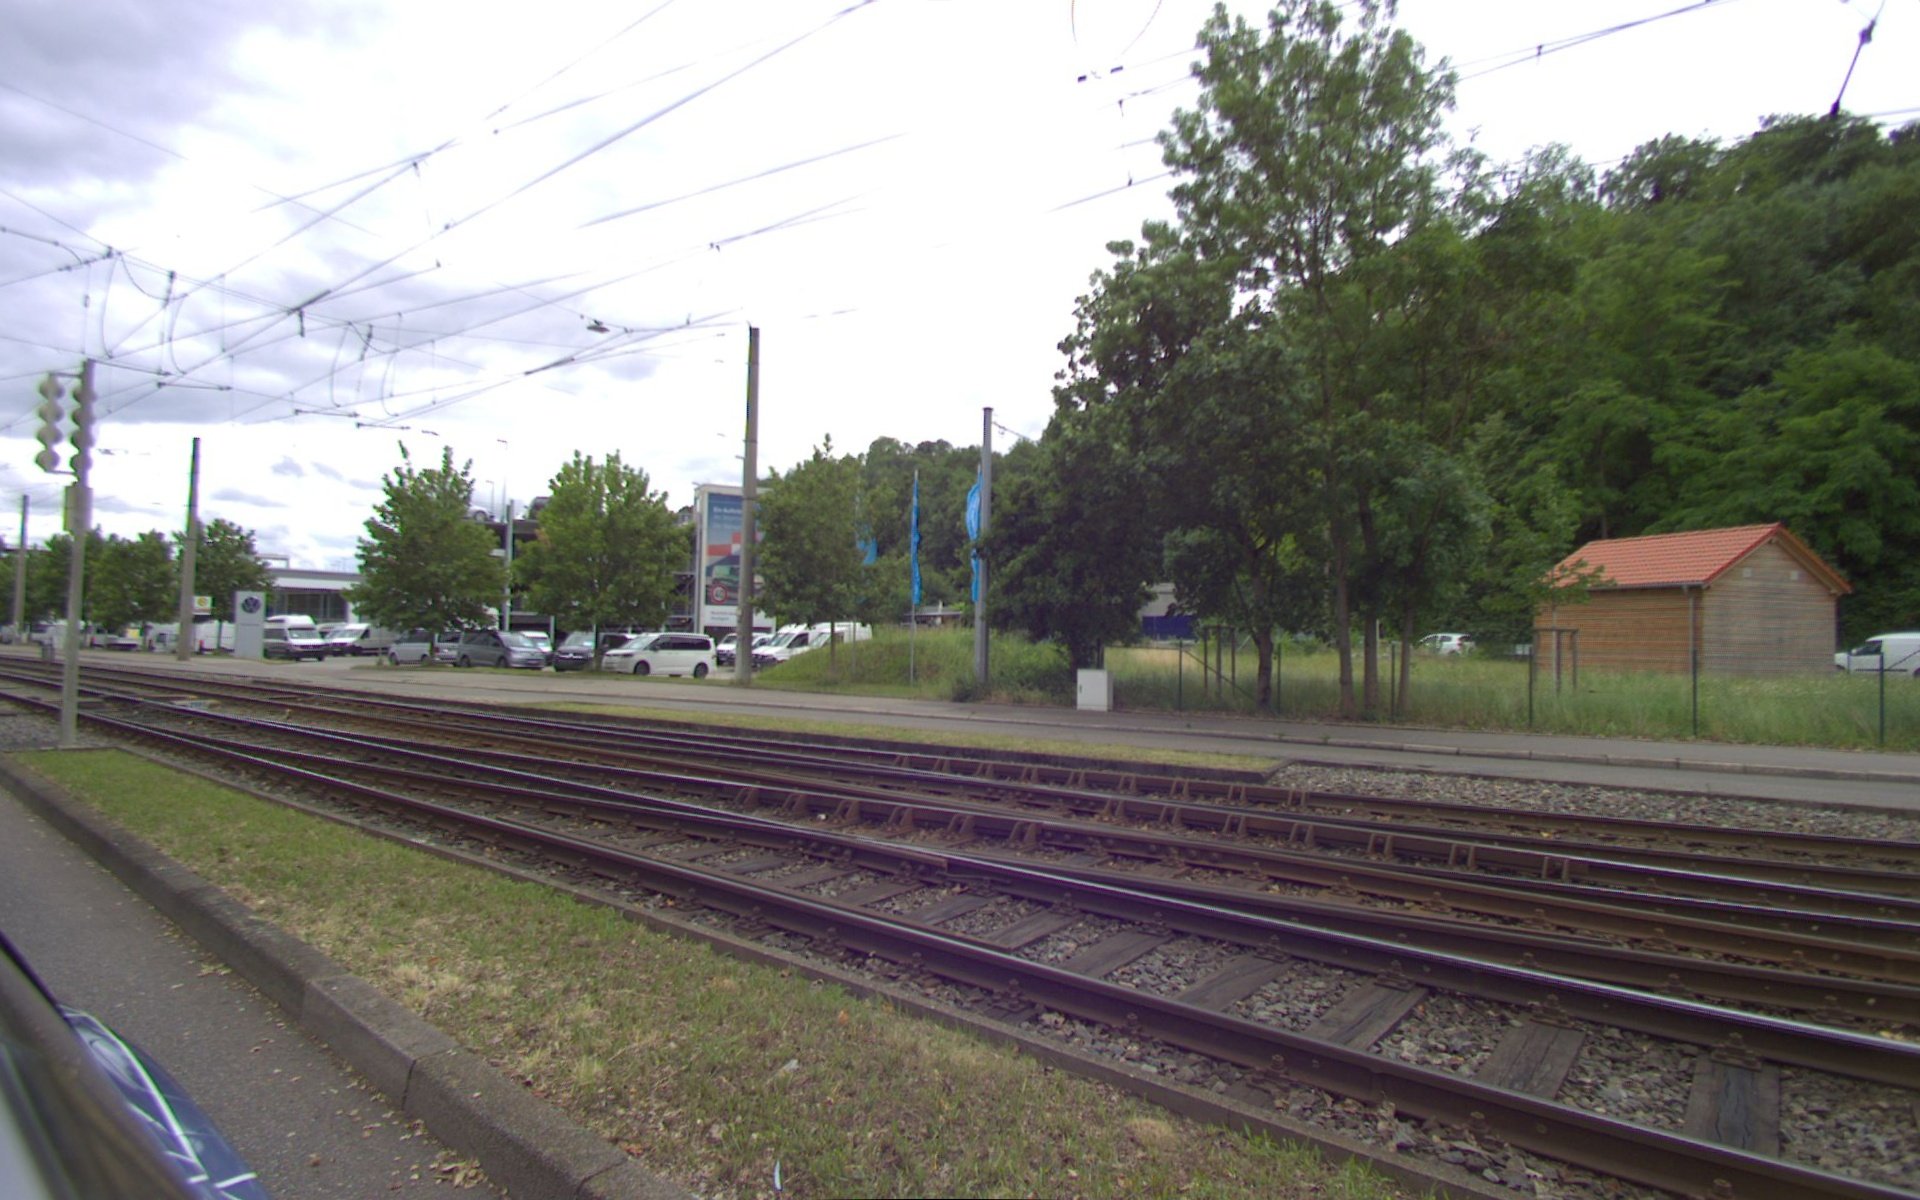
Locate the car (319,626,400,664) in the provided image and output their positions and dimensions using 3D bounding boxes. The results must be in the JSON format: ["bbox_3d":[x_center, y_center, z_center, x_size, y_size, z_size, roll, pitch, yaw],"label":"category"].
[{"bbox_3d":[-46.469,3.425,78.527,2.293,2.642,6.036,-1,0,6],"label":"car"}]

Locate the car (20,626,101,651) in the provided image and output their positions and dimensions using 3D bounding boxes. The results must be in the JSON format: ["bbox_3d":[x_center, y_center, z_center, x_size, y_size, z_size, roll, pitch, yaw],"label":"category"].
[{"bbox_3d":[-73.595,3.095,82.880,2.102,1.854,4.589,-1,0,32],"label":"car"}]

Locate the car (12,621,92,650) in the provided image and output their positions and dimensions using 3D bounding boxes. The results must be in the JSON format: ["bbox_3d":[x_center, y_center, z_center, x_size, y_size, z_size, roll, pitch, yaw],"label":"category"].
[{"bbox_3d":[-75.568,2.934,84.277,2.102,2.225,4.589,-1,0,32],"label":"car"}]

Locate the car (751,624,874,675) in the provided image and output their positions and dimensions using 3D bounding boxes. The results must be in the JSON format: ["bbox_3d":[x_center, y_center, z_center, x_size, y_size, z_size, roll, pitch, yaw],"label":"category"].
[{"bbox_3d":[-7.429,2.446,51.025,5.751,2.284,2.060,-1,0,-28],"label":"car"}]

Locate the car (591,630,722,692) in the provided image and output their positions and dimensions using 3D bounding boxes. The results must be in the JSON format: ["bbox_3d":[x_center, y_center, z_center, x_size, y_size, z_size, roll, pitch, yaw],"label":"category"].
[{"bbox_3d":[-12.840,2.520,43.105,1.997,2.284,5.206,-1,0,37],"label":"car"}]

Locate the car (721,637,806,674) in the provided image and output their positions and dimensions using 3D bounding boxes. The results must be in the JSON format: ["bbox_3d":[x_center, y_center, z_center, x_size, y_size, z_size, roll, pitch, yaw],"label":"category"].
[{"bbox_3d":[-10.911,3.057,56.262,4.165,1.850,1.986,-1,0,-31],"label":"car"}]

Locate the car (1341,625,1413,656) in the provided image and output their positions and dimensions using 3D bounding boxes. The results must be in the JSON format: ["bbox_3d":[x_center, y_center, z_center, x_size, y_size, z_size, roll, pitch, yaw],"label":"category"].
[{"bbox_3d":[24.480,2.342,59.463,1.727,1.625,3.693,-1,0,-25],"label":"car"}]

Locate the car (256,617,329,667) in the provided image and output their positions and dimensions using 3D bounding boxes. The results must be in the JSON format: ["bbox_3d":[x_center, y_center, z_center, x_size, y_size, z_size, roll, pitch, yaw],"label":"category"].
[{"bbox_3d":[-43.174,2.652,65.419,6.154,3.034,2.291,-1,0,40],"label":"car"}]

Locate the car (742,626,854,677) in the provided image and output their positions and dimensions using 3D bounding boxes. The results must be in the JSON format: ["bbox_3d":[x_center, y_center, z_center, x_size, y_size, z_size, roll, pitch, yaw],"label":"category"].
[{"bbox_3d":[-8.652,2.714,54.290,5.568,2.479,1.986,-1,0,-31],"label":"car"}]

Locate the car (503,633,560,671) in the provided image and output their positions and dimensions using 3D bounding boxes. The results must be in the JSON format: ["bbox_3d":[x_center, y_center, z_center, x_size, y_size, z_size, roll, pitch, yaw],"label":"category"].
[{"bbox_3d":[-24.509,2.924,57.818,1.872,1.907,4.606,-1,0,-38],"label":"car"}]

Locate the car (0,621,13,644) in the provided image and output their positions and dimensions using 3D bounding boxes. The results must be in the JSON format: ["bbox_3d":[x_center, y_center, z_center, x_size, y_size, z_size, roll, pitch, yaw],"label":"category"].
[{"bbox_3d":[-94.073,3.172,96.863,2.102,2.225,4.589,-1,0,32],"label":"car"}]

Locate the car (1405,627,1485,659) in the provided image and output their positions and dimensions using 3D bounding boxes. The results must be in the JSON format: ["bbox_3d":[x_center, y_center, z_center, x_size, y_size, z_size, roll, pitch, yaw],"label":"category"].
[{"bbox_3d":[26.491,2.317,55.392,1.727,1.625,3.693,-1,0,-25],"label":"car"}]

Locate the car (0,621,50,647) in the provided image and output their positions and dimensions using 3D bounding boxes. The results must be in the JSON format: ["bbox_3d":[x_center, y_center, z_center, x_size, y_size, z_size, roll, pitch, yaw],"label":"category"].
[{"bbox_3d":[-85.617,3.064,91.523,2.102,2.225,4.589,-1,0,32],"label":"car"}]

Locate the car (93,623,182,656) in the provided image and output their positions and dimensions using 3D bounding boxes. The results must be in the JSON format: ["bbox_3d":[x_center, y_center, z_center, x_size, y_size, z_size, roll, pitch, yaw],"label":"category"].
[{"bbox_3d":[-59.495,2.808,73.298,2.102,2.225,4.589,-1,0,32],"label":"car"}]

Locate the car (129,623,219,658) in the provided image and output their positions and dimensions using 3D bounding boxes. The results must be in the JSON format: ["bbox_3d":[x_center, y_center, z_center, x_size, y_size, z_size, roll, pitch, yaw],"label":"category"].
[{"bbox_3d":[-54.941,2.784,70.820,2.102,2.225,4.589,-1,0,32],"label":"car"}]

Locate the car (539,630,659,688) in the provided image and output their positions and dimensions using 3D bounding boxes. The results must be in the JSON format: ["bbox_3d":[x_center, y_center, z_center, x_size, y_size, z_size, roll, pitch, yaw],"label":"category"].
[{"bbox_3d":[-15.988,2.540,45.054,1.977,2.284,4.717,-1,0,37],"label":"car"}]

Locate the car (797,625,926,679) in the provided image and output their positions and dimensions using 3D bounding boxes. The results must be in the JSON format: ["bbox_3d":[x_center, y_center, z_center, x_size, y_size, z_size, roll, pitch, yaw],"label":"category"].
[{"bbox_3d":[-4.692,2.411,48.371,5.762,2.284,2.060,-1,0,-28],"label":"car"}]

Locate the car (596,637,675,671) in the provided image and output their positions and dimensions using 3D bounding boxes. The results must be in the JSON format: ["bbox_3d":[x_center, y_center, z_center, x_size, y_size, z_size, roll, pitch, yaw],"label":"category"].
[{"bbox_3d":[-19.420,3.202,60.623,4.165,1.850,1.986,-1,0,-31],"label":"car"}]

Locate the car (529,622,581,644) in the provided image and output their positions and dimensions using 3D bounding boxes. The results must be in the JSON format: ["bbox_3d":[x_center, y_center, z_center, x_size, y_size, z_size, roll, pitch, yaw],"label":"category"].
[{"bbox_3d":[-36.916,2.951,92.291,4.164,1.850,1.986,-1,0,-29],"label":"car"}]

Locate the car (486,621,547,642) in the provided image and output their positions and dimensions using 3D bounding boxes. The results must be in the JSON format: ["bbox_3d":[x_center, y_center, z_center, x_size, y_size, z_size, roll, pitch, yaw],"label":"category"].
[{"bbox_3d":[-41.806,2.964,95.387,5.138,1.850,1.986,-1,0,-29],"label":"car"}]

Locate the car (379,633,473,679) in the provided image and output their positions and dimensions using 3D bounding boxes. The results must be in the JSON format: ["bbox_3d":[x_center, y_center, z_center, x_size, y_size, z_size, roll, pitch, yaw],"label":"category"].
[{"bbox_3d":[-27.043,2.774,51.210,4.761,2.132,2.119,-1,0,32],"label":"car"}]

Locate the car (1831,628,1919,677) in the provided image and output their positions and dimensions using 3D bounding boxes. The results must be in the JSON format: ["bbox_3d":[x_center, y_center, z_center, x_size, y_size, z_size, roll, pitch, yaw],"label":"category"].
[{"bbox_3d":[34.189,1.865,36.535,1.877,1.625,3.693,-1,0,-22],"label":"car"}]

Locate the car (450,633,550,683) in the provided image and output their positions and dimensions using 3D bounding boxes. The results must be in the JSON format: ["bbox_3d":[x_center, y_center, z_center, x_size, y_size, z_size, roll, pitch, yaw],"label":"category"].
[{"bbox_3d":[-21.771,2.704,47.810,4.763,2.132,2.118,-1,0,34],"label":"car"}]

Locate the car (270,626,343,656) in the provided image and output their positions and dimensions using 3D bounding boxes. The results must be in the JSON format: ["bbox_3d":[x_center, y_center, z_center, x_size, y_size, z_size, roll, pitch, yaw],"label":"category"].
[{"bbox_3d":[-53.655,3.309,83.130,2.107,2.225,4.579,-1,0,39],"label":"car"}]

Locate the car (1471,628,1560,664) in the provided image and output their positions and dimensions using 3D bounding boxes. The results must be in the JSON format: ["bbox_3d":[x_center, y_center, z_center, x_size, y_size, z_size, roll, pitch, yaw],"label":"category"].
[{"bbox_3d":[28.187,2.297,51.437,1.727,1.625,3.693,-1,0,-22],"label":"car"}]

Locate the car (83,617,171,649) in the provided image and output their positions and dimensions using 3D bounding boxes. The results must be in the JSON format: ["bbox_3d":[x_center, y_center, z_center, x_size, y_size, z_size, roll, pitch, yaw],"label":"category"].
[{"bbox_3d":[-61.477,2.382,74.746,2.102,2.225,4.589,-1,0,32],"label":"car"}]

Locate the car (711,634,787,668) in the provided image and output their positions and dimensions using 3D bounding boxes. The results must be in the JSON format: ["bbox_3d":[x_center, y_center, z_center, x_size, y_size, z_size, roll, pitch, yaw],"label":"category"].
[{"bbox_3d":[-12.975,3.095,62.223,4.165,1.850,1.986,-1,0,-31],"label":"car"}]

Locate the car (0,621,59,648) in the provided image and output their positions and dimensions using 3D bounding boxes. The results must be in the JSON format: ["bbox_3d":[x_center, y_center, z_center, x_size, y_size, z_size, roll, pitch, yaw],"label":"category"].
[{"bbox_3d":[-83.594,3.038,90.149,2.102,2.225,4.589,-1,0,32],"label":"car"}]

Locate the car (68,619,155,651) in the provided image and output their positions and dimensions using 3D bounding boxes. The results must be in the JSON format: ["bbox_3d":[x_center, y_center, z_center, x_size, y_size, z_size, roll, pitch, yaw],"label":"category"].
[{"bbox_3d":[-63.855,2.611,76.230,2.102,2.225,4.589,-1,0,32],"label":"car"}]
